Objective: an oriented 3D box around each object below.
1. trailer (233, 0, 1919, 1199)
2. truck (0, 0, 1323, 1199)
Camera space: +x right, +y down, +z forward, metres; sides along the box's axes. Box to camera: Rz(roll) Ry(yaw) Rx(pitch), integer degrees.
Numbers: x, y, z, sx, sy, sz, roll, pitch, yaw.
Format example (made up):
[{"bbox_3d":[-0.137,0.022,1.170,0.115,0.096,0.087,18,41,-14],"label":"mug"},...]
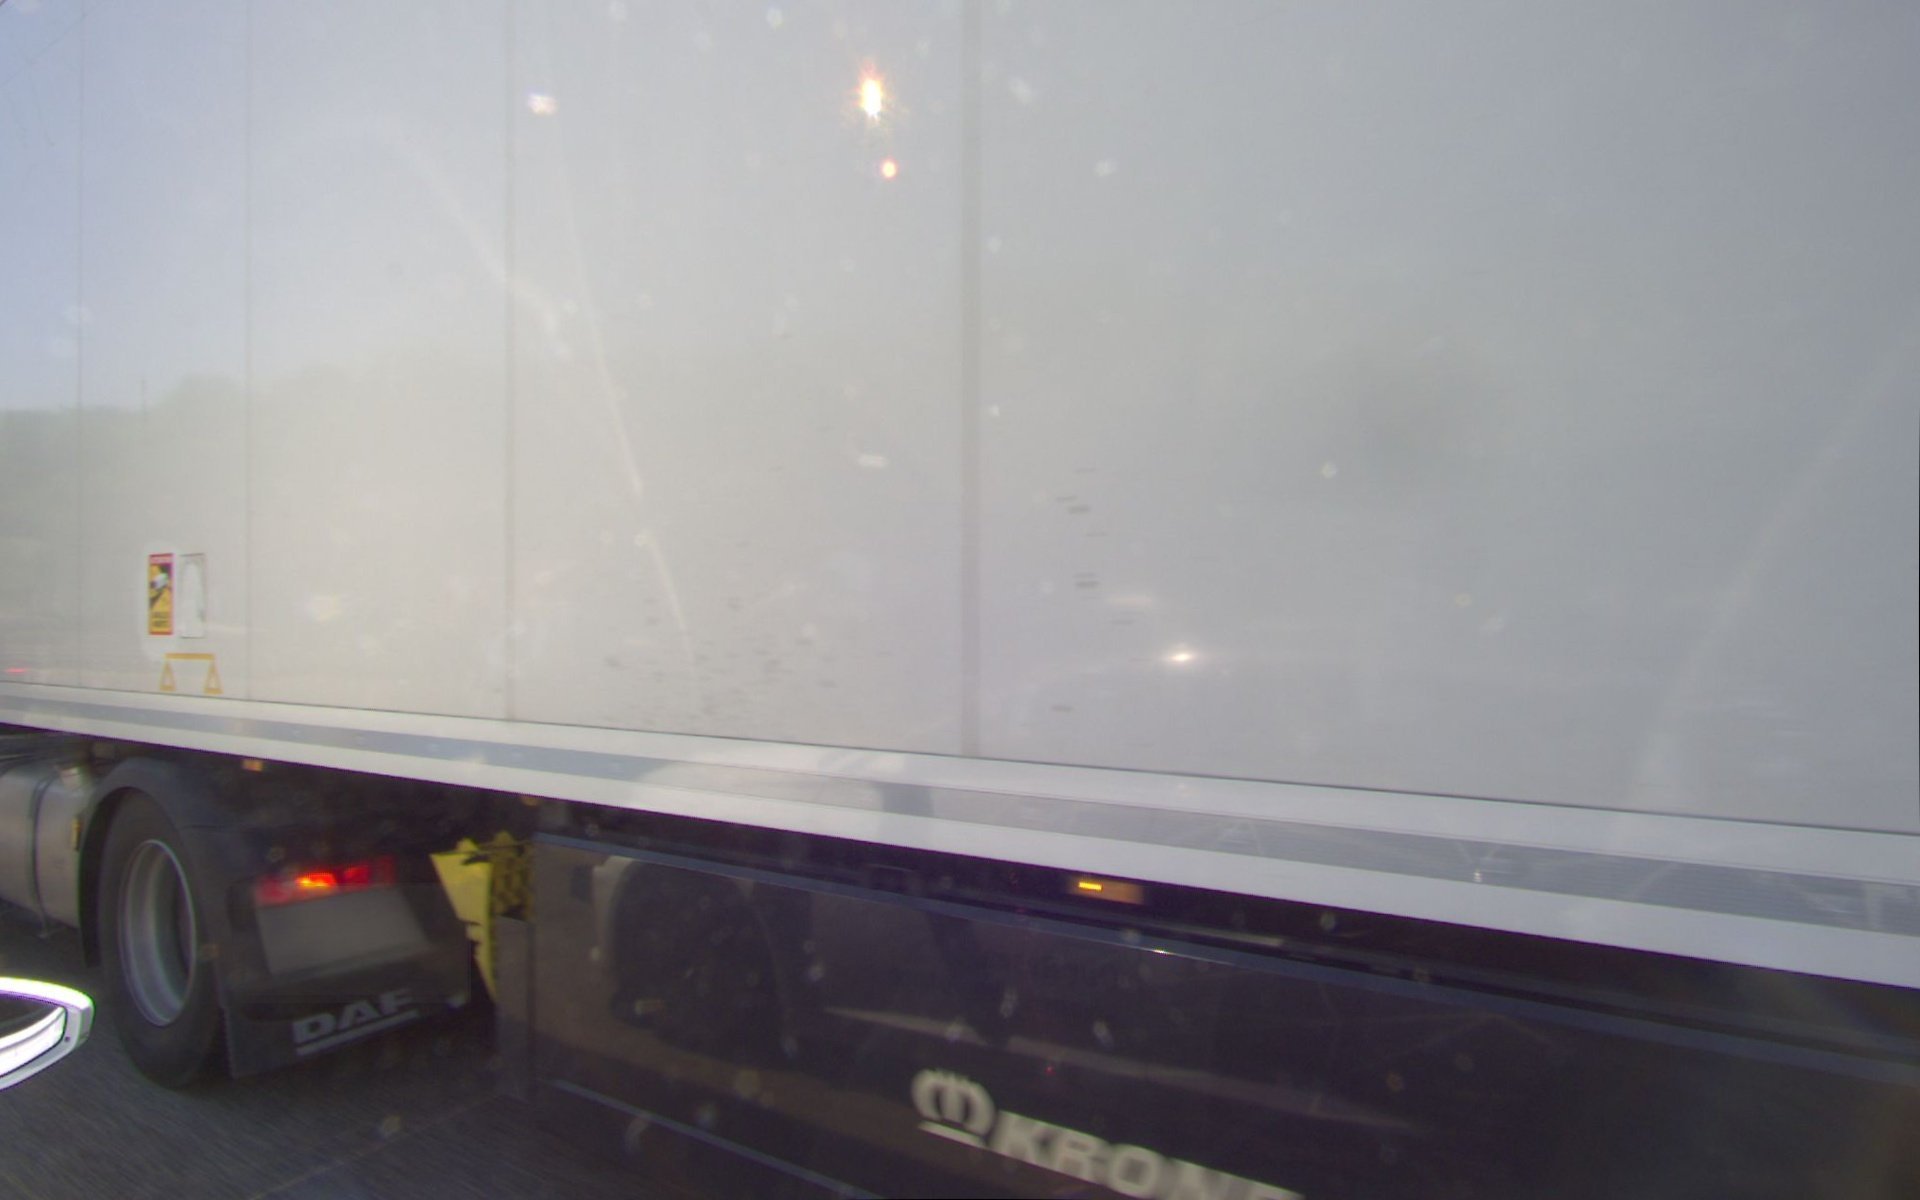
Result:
[{"bbox_3d":[3.638,-0.540,0.675,11.381,4.179,2.528,-1,-2,32],"label":"trailer"},{"bbox_3d":[-2.787,-0.617,4.688,8.119,4.076,2.510,-1,-2,32],"label":"truck"}]
